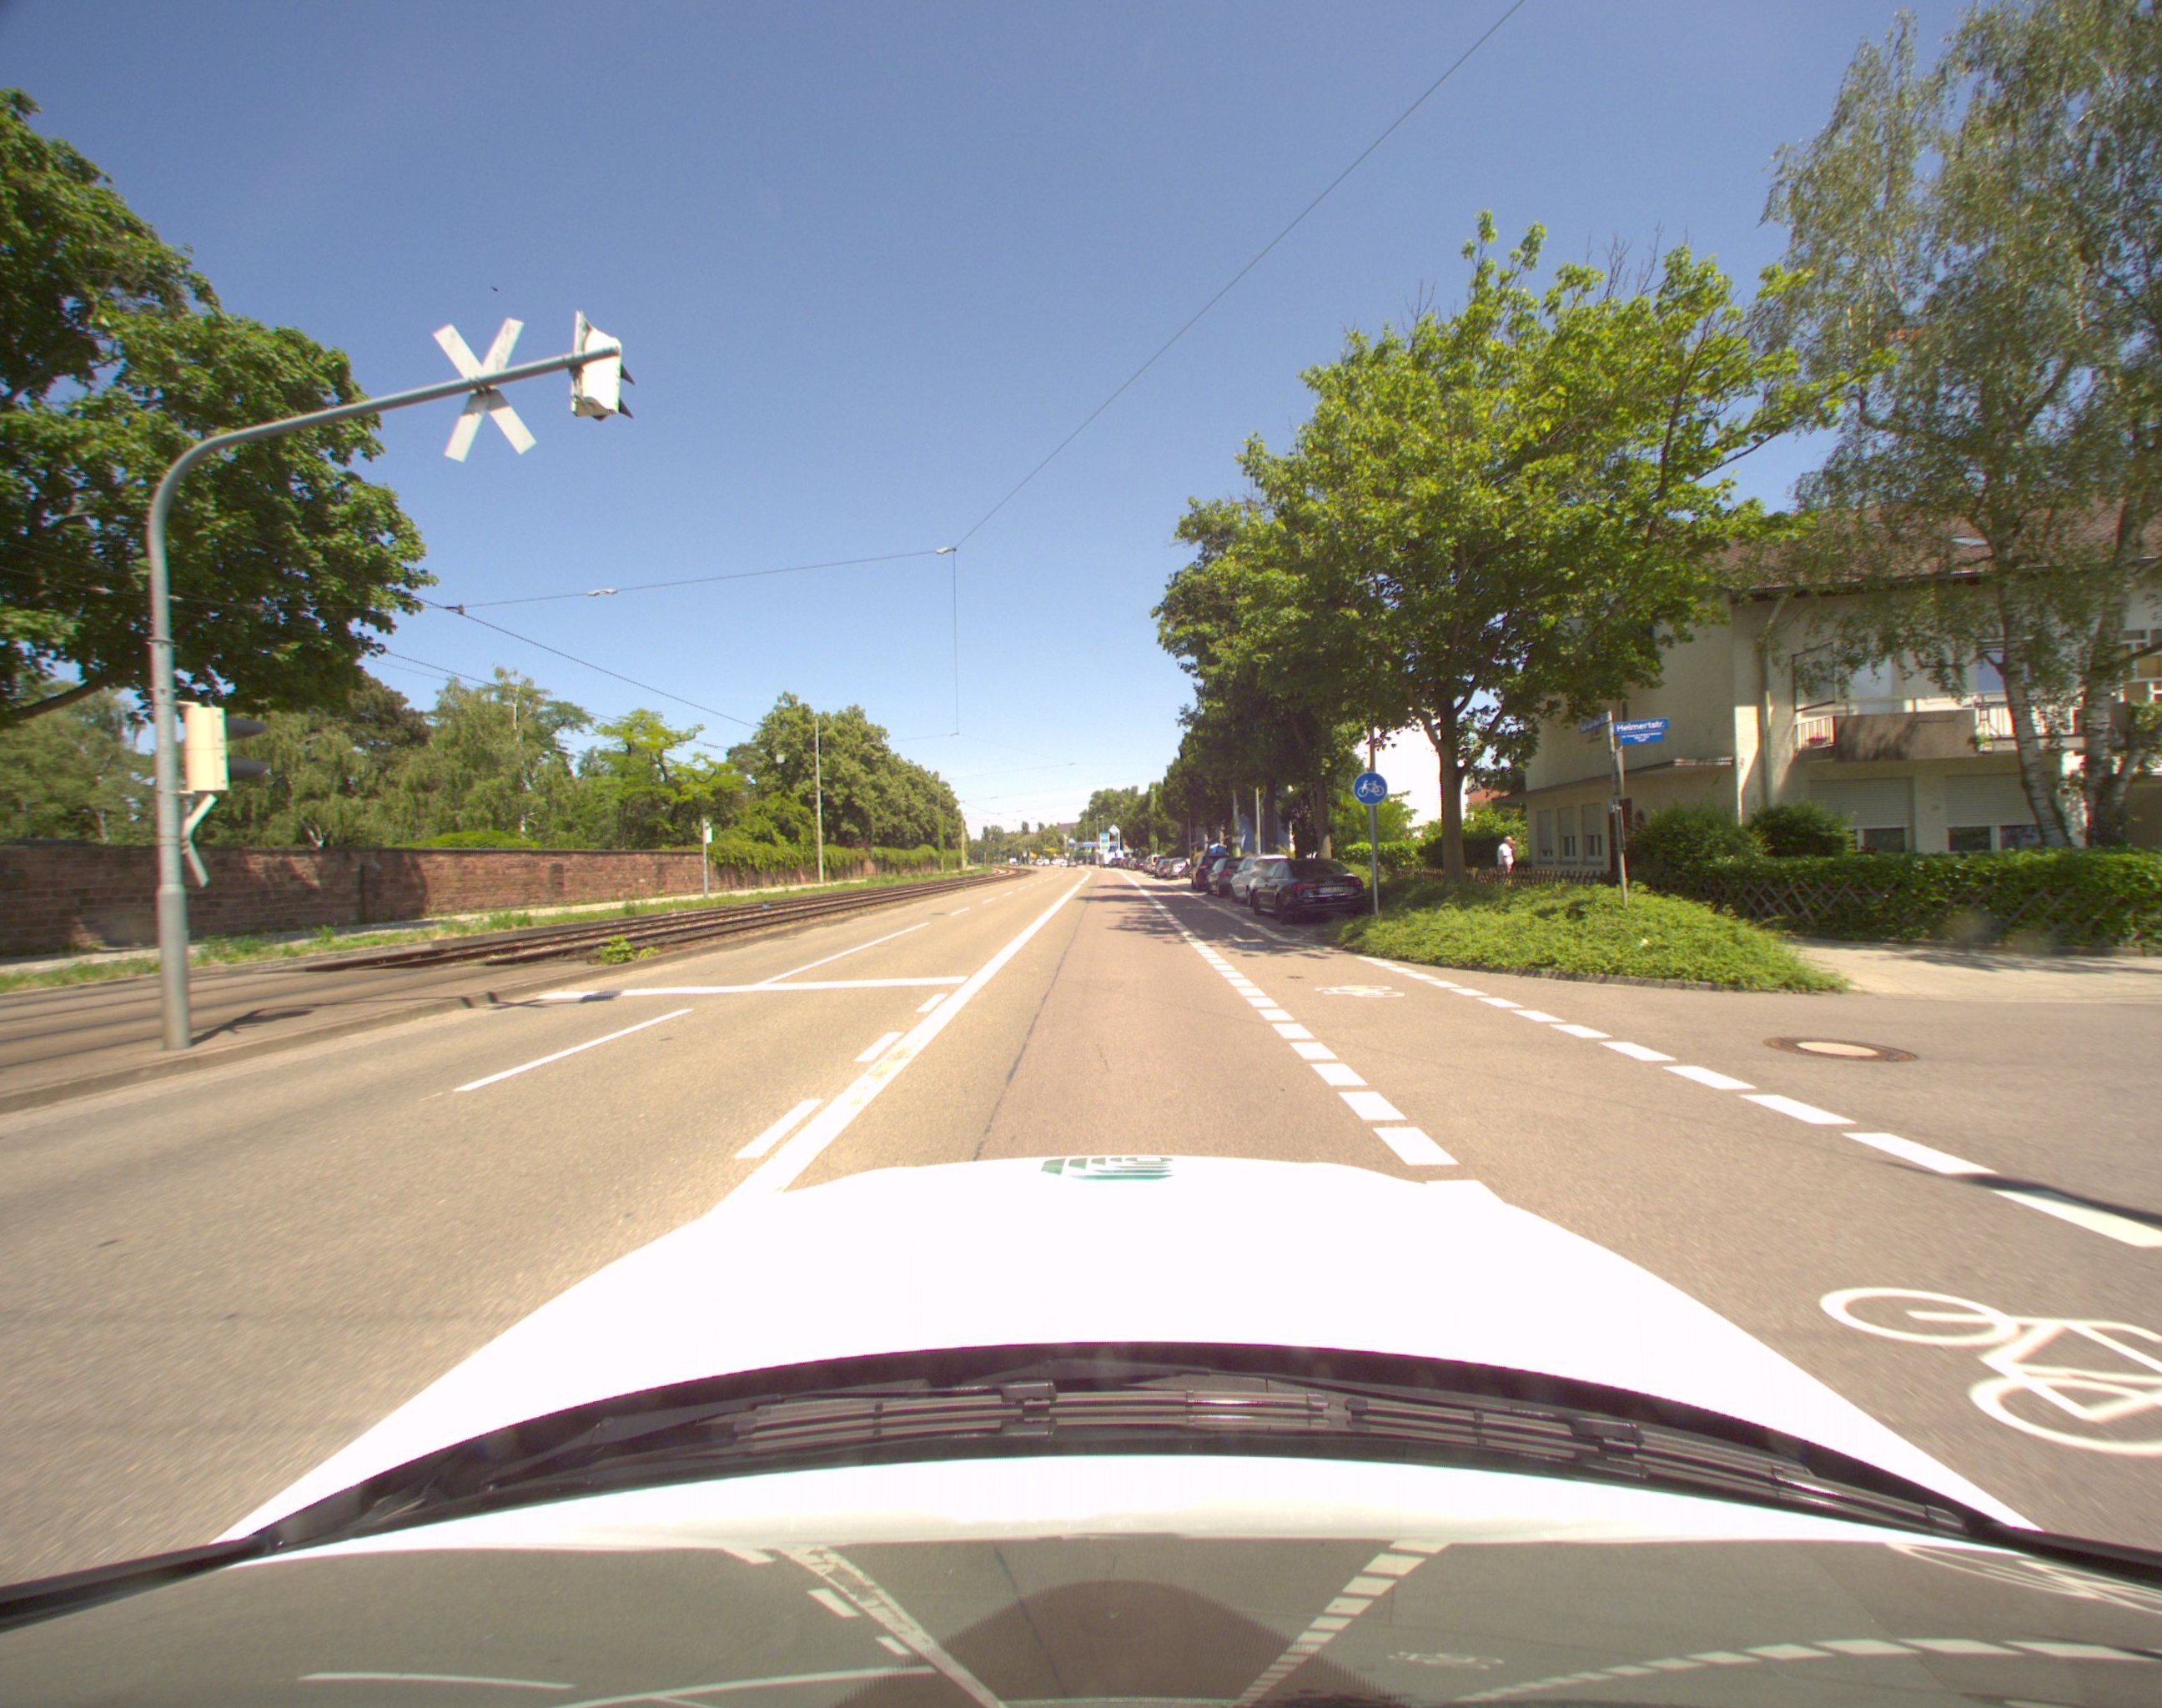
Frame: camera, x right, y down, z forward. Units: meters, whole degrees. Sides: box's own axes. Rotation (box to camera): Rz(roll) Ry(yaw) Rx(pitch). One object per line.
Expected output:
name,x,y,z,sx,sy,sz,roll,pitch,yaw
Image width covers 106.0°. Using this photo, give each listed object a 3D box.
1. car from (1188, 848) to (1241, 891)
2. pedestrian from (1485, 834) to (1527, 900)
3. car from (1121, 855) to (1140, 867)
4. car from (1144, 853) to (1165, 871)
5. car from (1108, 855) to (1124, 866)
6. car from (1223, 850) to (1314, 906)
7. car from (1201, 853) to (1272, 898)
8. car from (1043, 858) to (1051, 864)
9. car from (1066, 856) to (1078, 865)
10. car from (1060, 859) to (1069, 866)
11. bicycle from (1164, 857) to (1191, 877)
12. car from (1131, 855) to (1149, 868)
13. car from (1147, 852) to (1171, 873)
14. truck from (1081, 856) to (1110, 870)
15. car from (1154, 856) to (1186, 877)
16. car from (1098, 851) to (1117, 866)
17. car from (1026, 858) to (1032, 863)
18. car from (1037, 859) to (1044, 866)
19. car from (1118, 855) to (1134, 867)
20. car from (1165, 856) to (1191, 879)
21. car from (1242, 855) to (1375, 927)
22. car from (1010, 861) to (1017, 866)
car,6.053,0.666,37.379,1.833,1.706,4.630,-4,0,3
pedestrian,11.412,0.341,21.879,0.746,1.722,0.632,-1,0,-5
car,6.906,1.003,113.532,1.705,1.562,4.312,-4,0,-7
car,7.653,0.830,85.463,1.833,1.694,4.781,-4,0,2
car,5.526,1.074,129.462,1.754,1.630,4.313,-4,0,-7
car,5.913,0.716,26.170,1.835,1.529,4.204,-4,0,-1
car,5.952,0.778,31.740,1.835,1.529,4.352,-4,0,0
car,-10.370,2.180,248.733,1.754,1.630,4.313,-4,0,-7
car,-1.782,1.274,160.394,1.754,1.630,4.313,-4,0,-7
car,-3.926,2.035,195.268,1.753,1.630,4.315,-4,0,-6
bicycle,6.787,0.928,57.254,1.765,1.228,0.685,-6,-1,6
car,7.404,0.956,102.334,1.702,1.492,5.034,-4,0,-2
car,7.591,0.795,79.276,1.834,1.794,4.353,-4,0,0
truck,3.968,2.567,224.490,7.945,3.602,2.661,-1,0,-2
car,6.956,0.947,64.137,1.835,1.529,4.964,-4,0,-1
car,4.485,0.783,139.610,2.000,2.457,6.092,-4,0,-8
car,-15.700,1.963,245.492,1.753,1.630,4.315,-4,0,-6
car,-11.700,2.417,234.233,1.754,1.875,4.313,-4,0,-7
car,6.582,1.040,119.458,1.705,1.562,4.315,-4,0,-6
car,7.015,0.972,59.289,1.513,1.529,3.818,-4,0,2
car,5.398,0.797,20.018,1.835,1.436,4.824,-4,0,0
car,-21.040,3.040,253.584,1.754,1.509,4.313,-4,0,-7
